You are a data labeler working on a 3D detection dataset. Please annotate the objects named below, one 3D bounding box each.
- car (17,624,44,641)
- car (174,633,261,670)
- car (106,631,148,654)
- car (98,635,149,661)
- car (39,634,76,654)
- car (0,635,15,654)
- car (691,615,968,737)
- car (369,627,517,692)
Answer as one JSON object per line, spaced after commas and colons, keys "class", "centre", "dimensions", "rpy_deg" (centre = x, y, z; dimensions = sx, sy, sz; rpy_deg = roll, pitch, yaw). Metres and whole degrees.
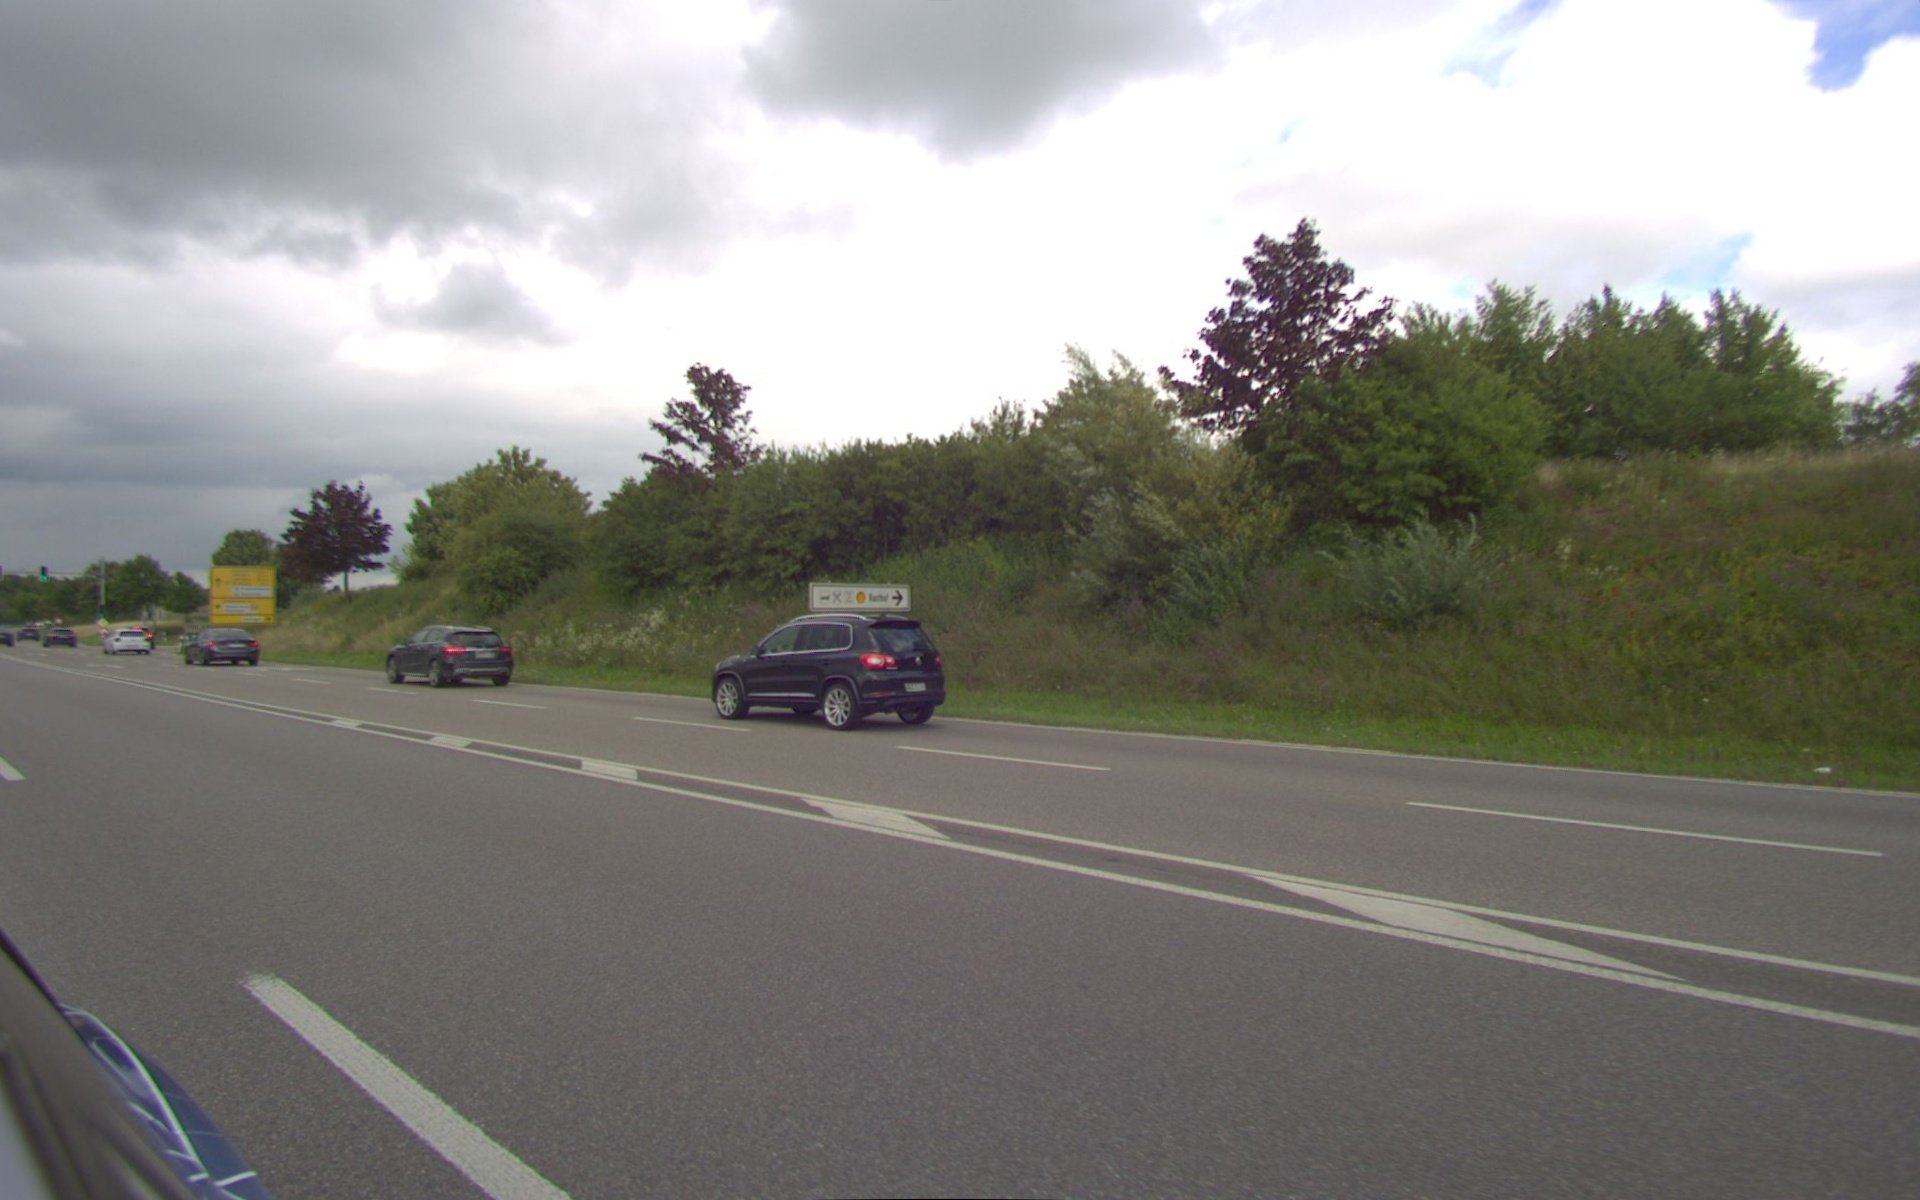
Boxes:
{"class": "car", "centre": [-101.589, 3.528, 110.572], "dimensions": [4.128, 1.729, 1.831], "rpy_deg": [-2, -1, 42]}
{"class": "car", "centre": [-29.573, 2.041, 40.270], "dimensions": [4.703, 1.416, 1.775], "rpy_deg": [-2, -4, 41]}
{"class": "car", "centre": [-60.557, 3.103, 73.574], "dimensions": [4.399, 1.608, 1.835], "rpy_deg": [-2, -3, 44]}
{"class": "car", "centre": [-47.185, 2.675, 57.061], "dimensions": [4.054, 1.425, 1.591], "rpy_deg": [-2, -2, 41]}
{"class": "car", "centre": [-69.725, 3.411, 78.180], "dimensions": [4.660, 1.492, 1.704], "rpy_deg": [-2, -3, 44]}
{"class": "car", "centre": [-74.443, 3.447, 78.203], "dimensions": [4.186, 1.418, 1.835], "rpy_deg": [-2, -3, 44]}
{"class": "car", "centre": [-2.156, 1.122, 15.877], "dimensions": [4.513, 1.647, 1.775], "rpy_deg": [-2, -4, 41]}
{"class": "car", "centre": [-13.436, 1.505, 26.200], "dimensions": [4.703, 1.523, 1.775], "rpy_deg": [-2, -4, 41]}
